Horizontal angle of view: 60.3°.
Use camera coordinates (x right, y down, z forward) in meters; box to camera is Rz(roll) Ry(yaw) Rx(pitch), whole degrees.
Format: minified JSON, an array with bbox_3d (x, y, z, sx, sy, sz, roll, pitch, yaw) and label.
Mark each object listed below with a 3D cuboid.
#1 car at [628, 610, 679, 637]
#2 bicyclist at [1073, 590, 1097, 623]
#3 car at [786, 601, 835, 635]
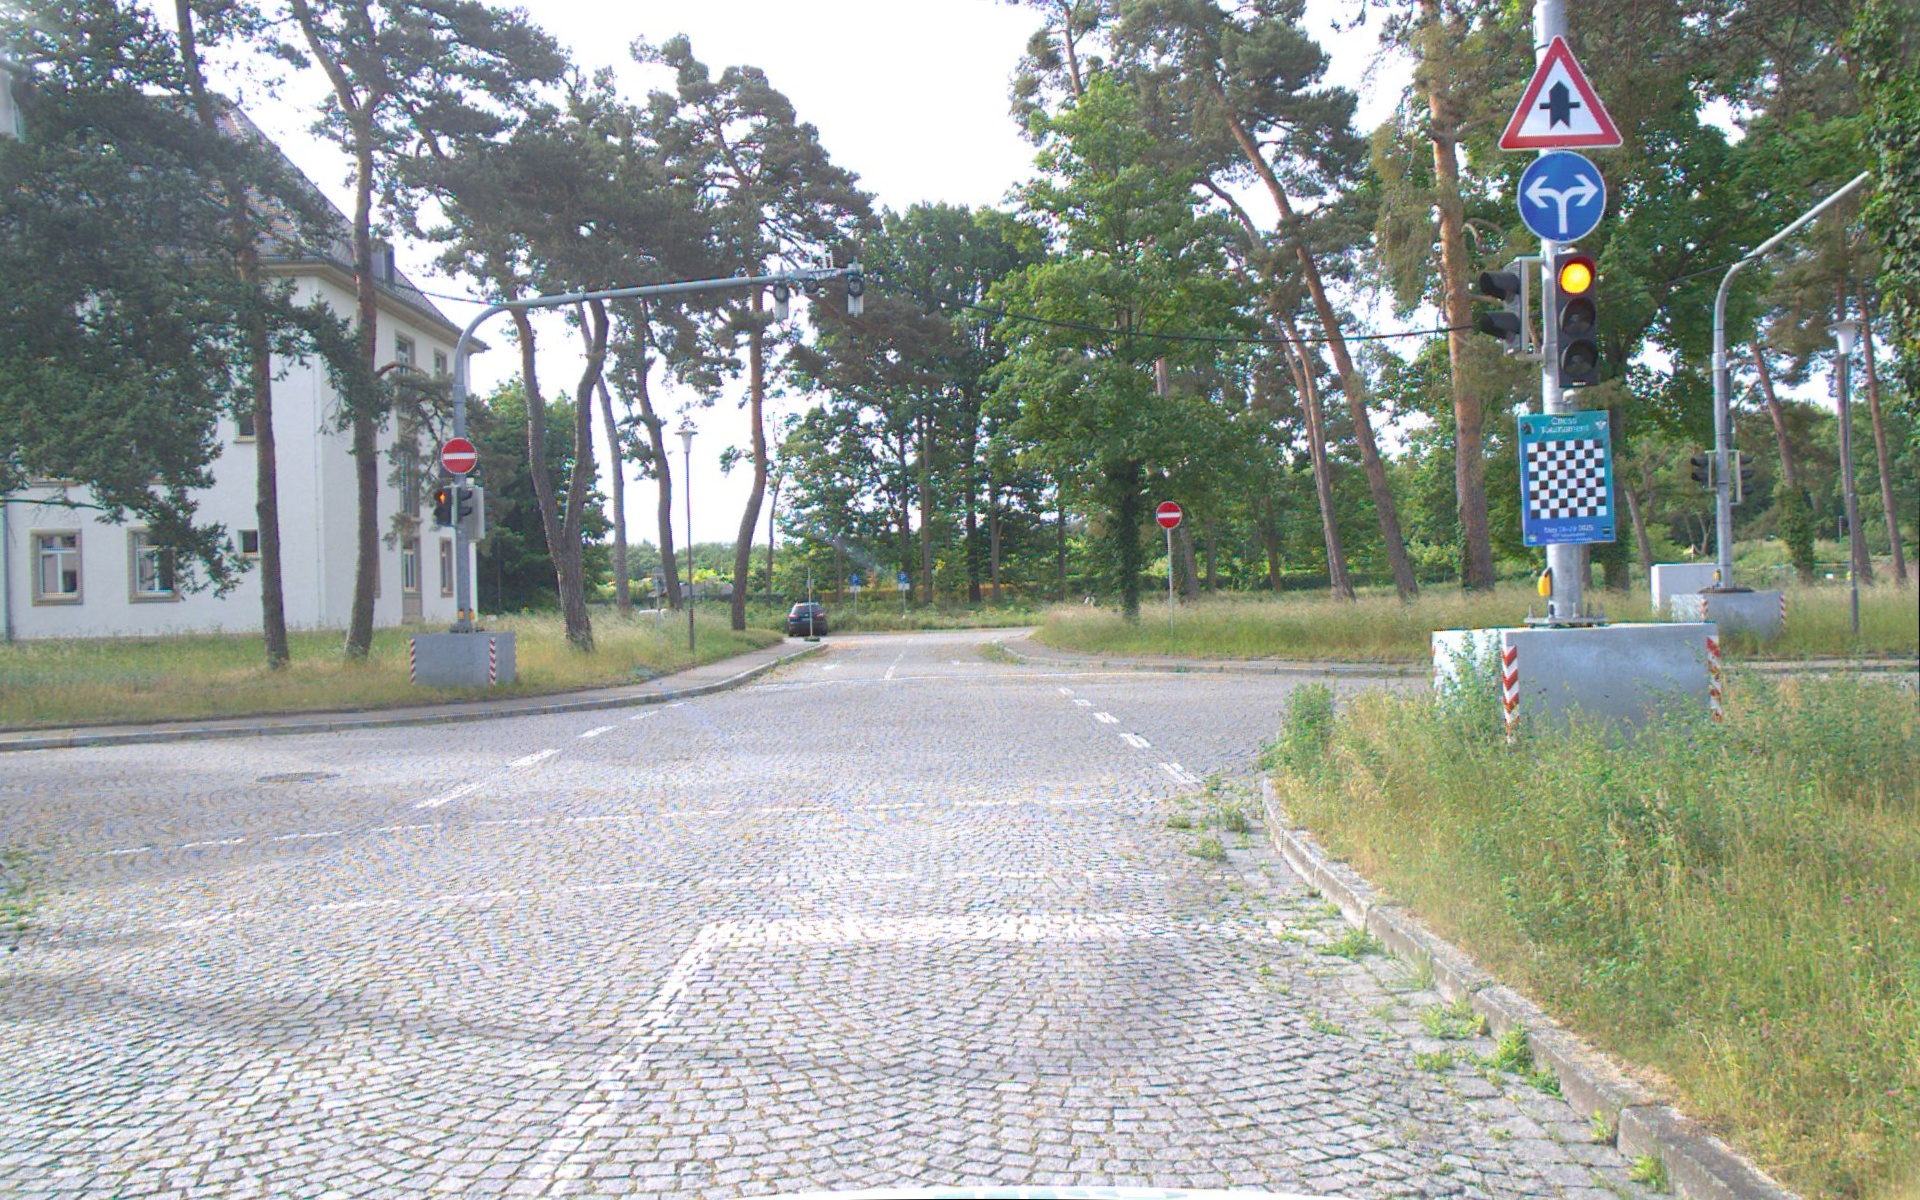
[{"bbox_3d":[-14.720,1.135,79.652,1.654,1.176,4.000,-2,0,0],"label":"car"},{"bbox_3d":[5.876,0.303,77.616,0.955,1.537,0.807,-2,0,-5],"label":"bicyclist"},{"bbox_3d":[-7.078,0.828,78.590,1.953,1.534,4.000,0,0,0],"label":"car"}]
